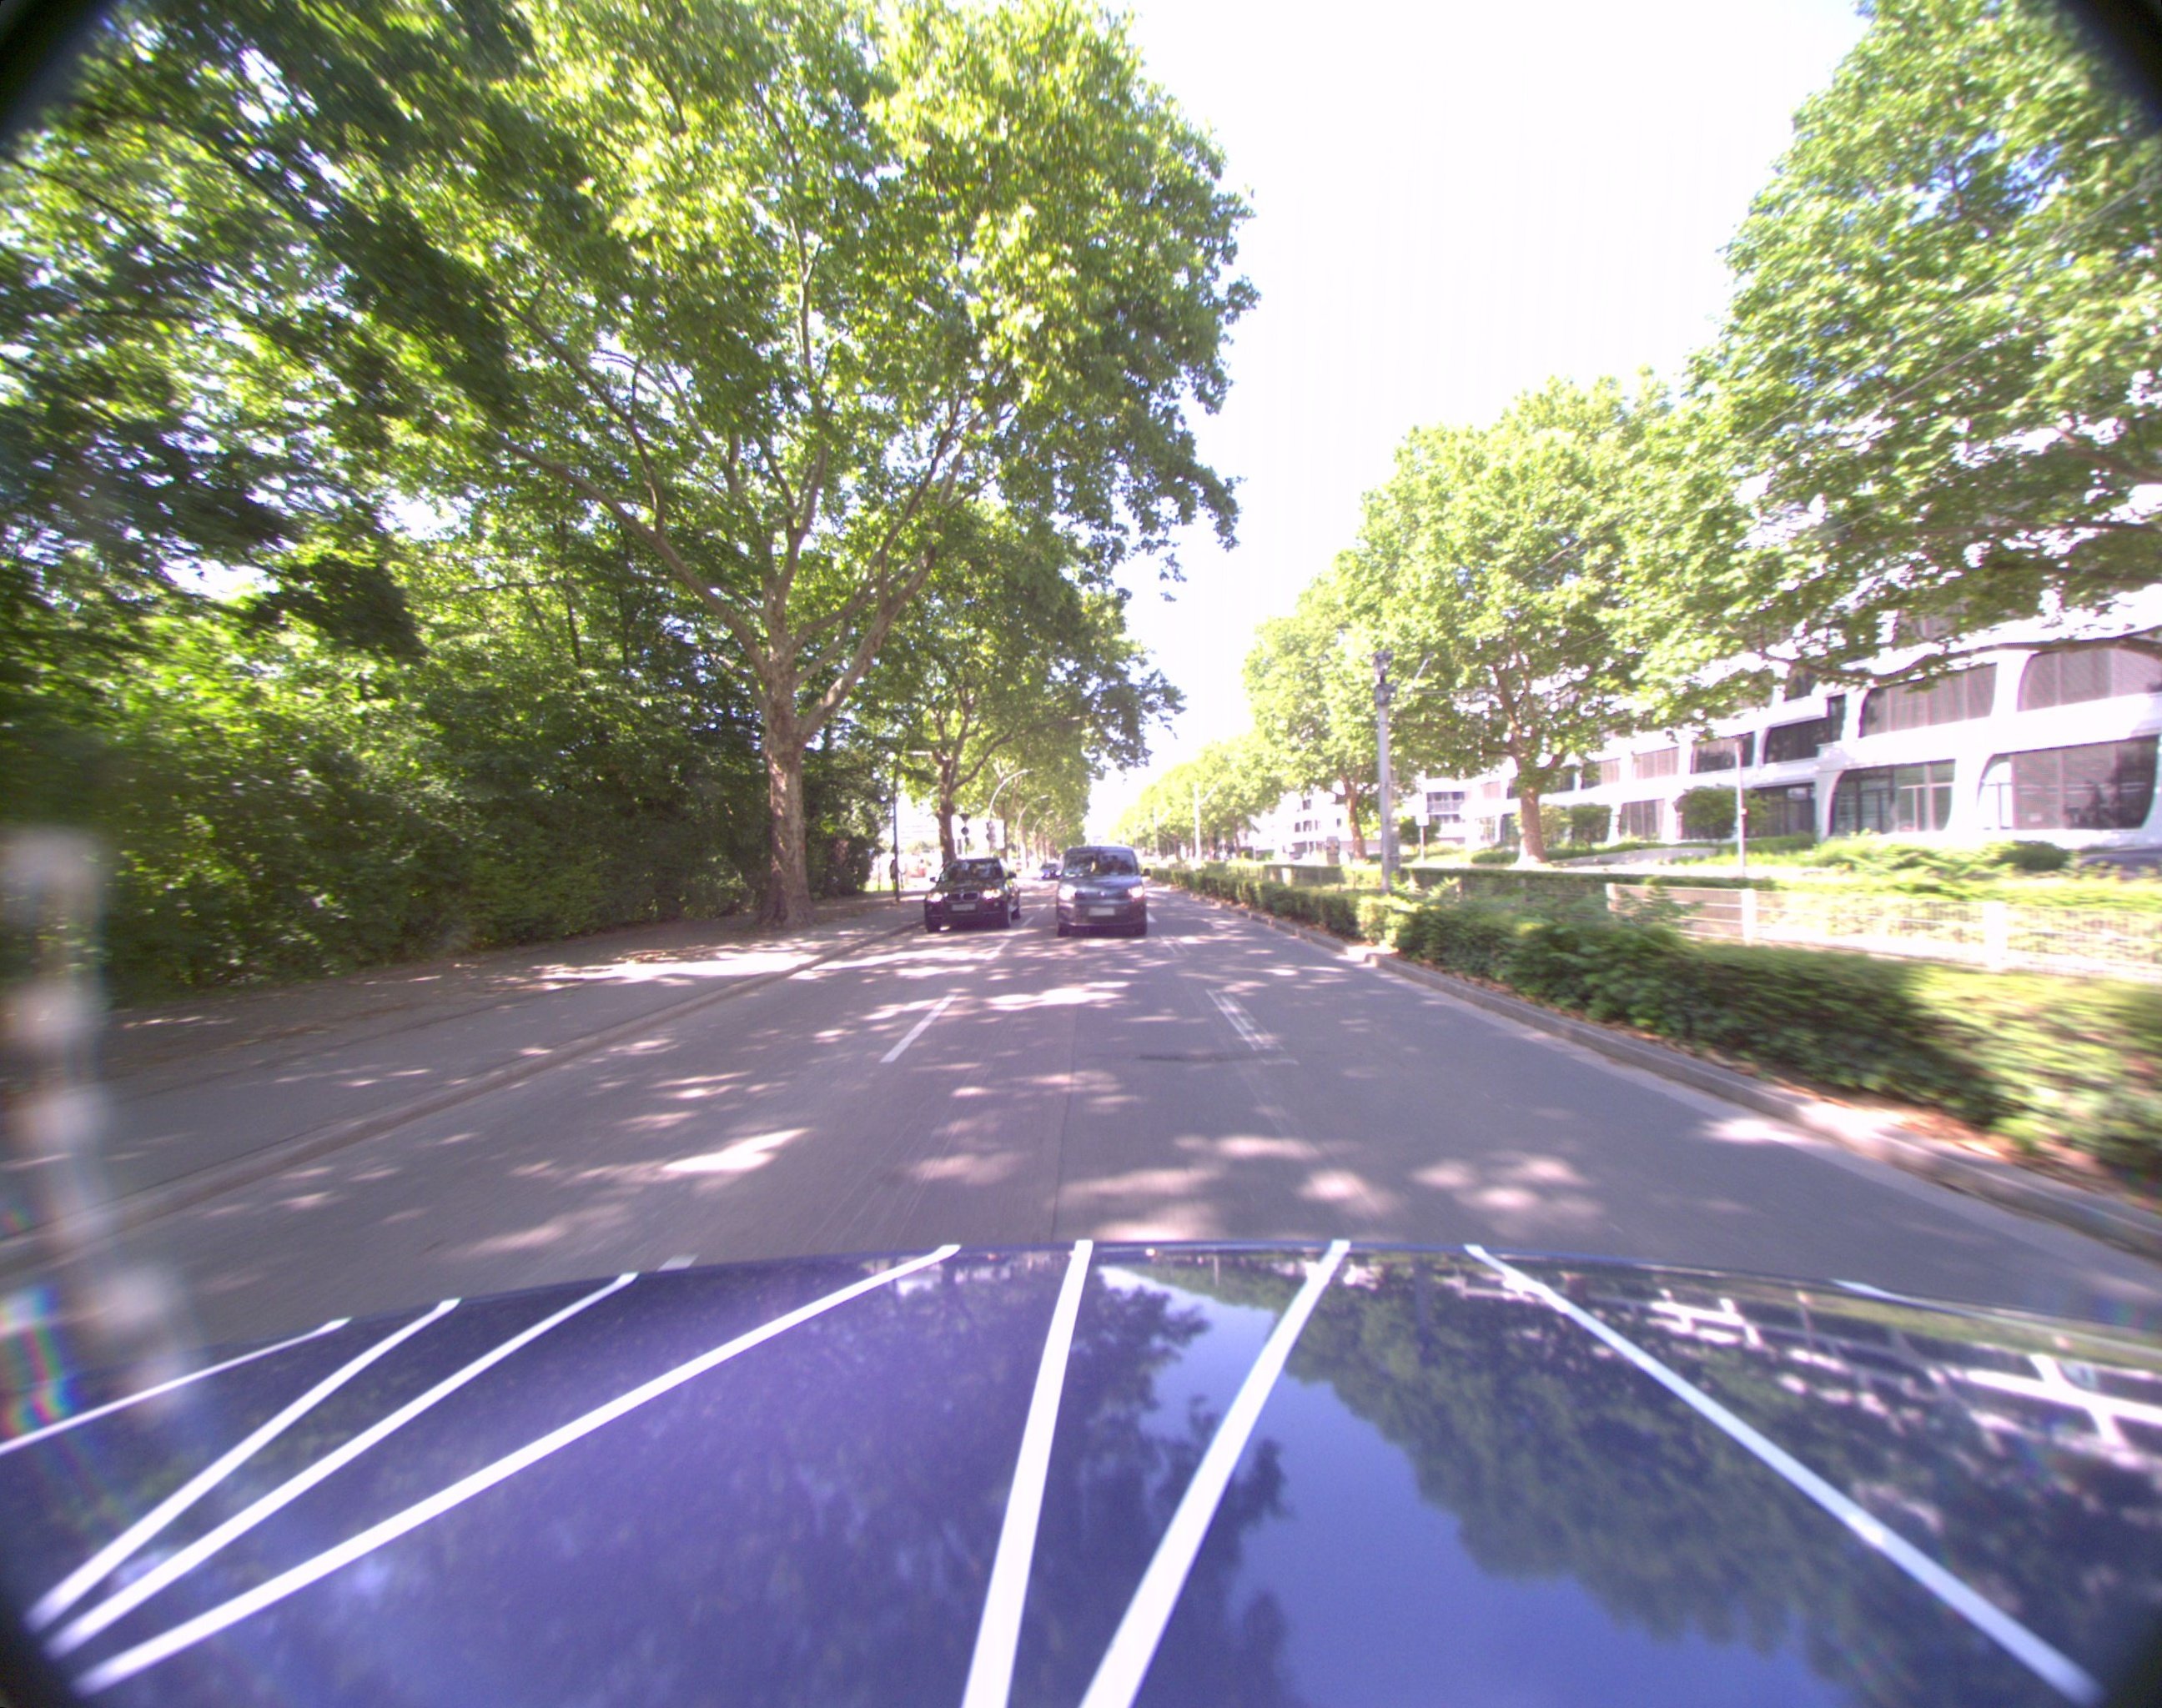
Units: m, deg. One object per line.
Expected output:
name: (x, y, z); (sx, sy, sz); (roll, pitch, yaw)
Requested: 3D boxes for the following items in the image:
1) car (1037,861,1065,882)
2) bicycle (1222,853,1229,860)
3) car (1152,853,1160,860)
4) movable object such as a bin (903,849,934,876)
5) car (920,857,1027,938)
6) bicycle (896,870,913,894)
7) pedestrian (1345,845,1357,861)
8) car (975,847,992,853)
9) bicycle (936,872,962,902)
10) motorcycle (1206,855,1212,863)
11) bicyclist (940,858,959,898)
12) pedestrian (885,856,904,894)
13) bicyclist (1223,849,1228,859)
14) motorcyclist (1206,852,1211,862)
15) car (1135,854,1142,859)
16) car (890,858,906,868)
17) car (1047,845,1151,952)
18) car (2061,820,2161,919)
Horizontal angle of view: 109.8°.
car: (-2.277, 1.324, 58.634); (1.854, 1.418, 4.152); (-3, 0, 2)
bicycle: (23.254, 0.413, 122.343); (0.665, 1.117, 2.031); (-3, 0, 2)
car: (18.899, 0.653, 191.258); (1.761, 1.560, 4.019); (-3, 0, 1)
movable object such as a bin: (-19.243, 0.981, 90.395); (2.375, 3.053, 5.985); (-3, 0, -2)
car: (-2.551, 0.977, 19.054); (1.924, 1.720, 4.152); (-3, 0, 1)
bicycle: (-8.520, 1.352, 36.650); (0.350, 1.075, 1.699); (-3, 0, 1)
pedestrian: (26.742, -0.124, 75.243); (0.722, 1.579, 1.015); (-3, 0, 2)
car: (-25.181, -1.064, 196.641); (3.998, 1.500, 1.808); (-2, 0, -2)
bicycle: (-5.282, 1.297, 30.430); (0.653, 1.123, 1.945); (-1, 0, 1)
motorcycle: (19.623, 0.748, 116.810); (0.634, 1.168, 2.000); (-2, 0, 1)
bicyclist: (-5.288, 0.963, 30.533); (0.621, 1.590, 0.732); (0, 0, -1)
pedestrian: (-8.949, 1.001, 36.473); (0.633, 1.775, 0.874); (-3, 0, 1)
bicyclist: (23.230, 0.015, 122.319); (0.656, 1.526, 0.641); (-3, 0, 2)
motorcyclist: (19.610, 0.476, 116.876); (0.582, 1.449, 0.533); (-2, 0, 1)
car: (18.983, 0.849, 251.627); (1.820, 1.481, 3.912); (0, 0, -1)
car: (-53.164, 2.662, 220.956); (3.998, 2.722, 1.808); (-2, 0, -2)
car: (0.385, 0.780, 15.324); (1.789, 1.839, 4.000); (-1, 0, 2)
car: (18.705, 0.224, 11.346); (1.834, 1.614, 4.896); (-2, 0, 1)
